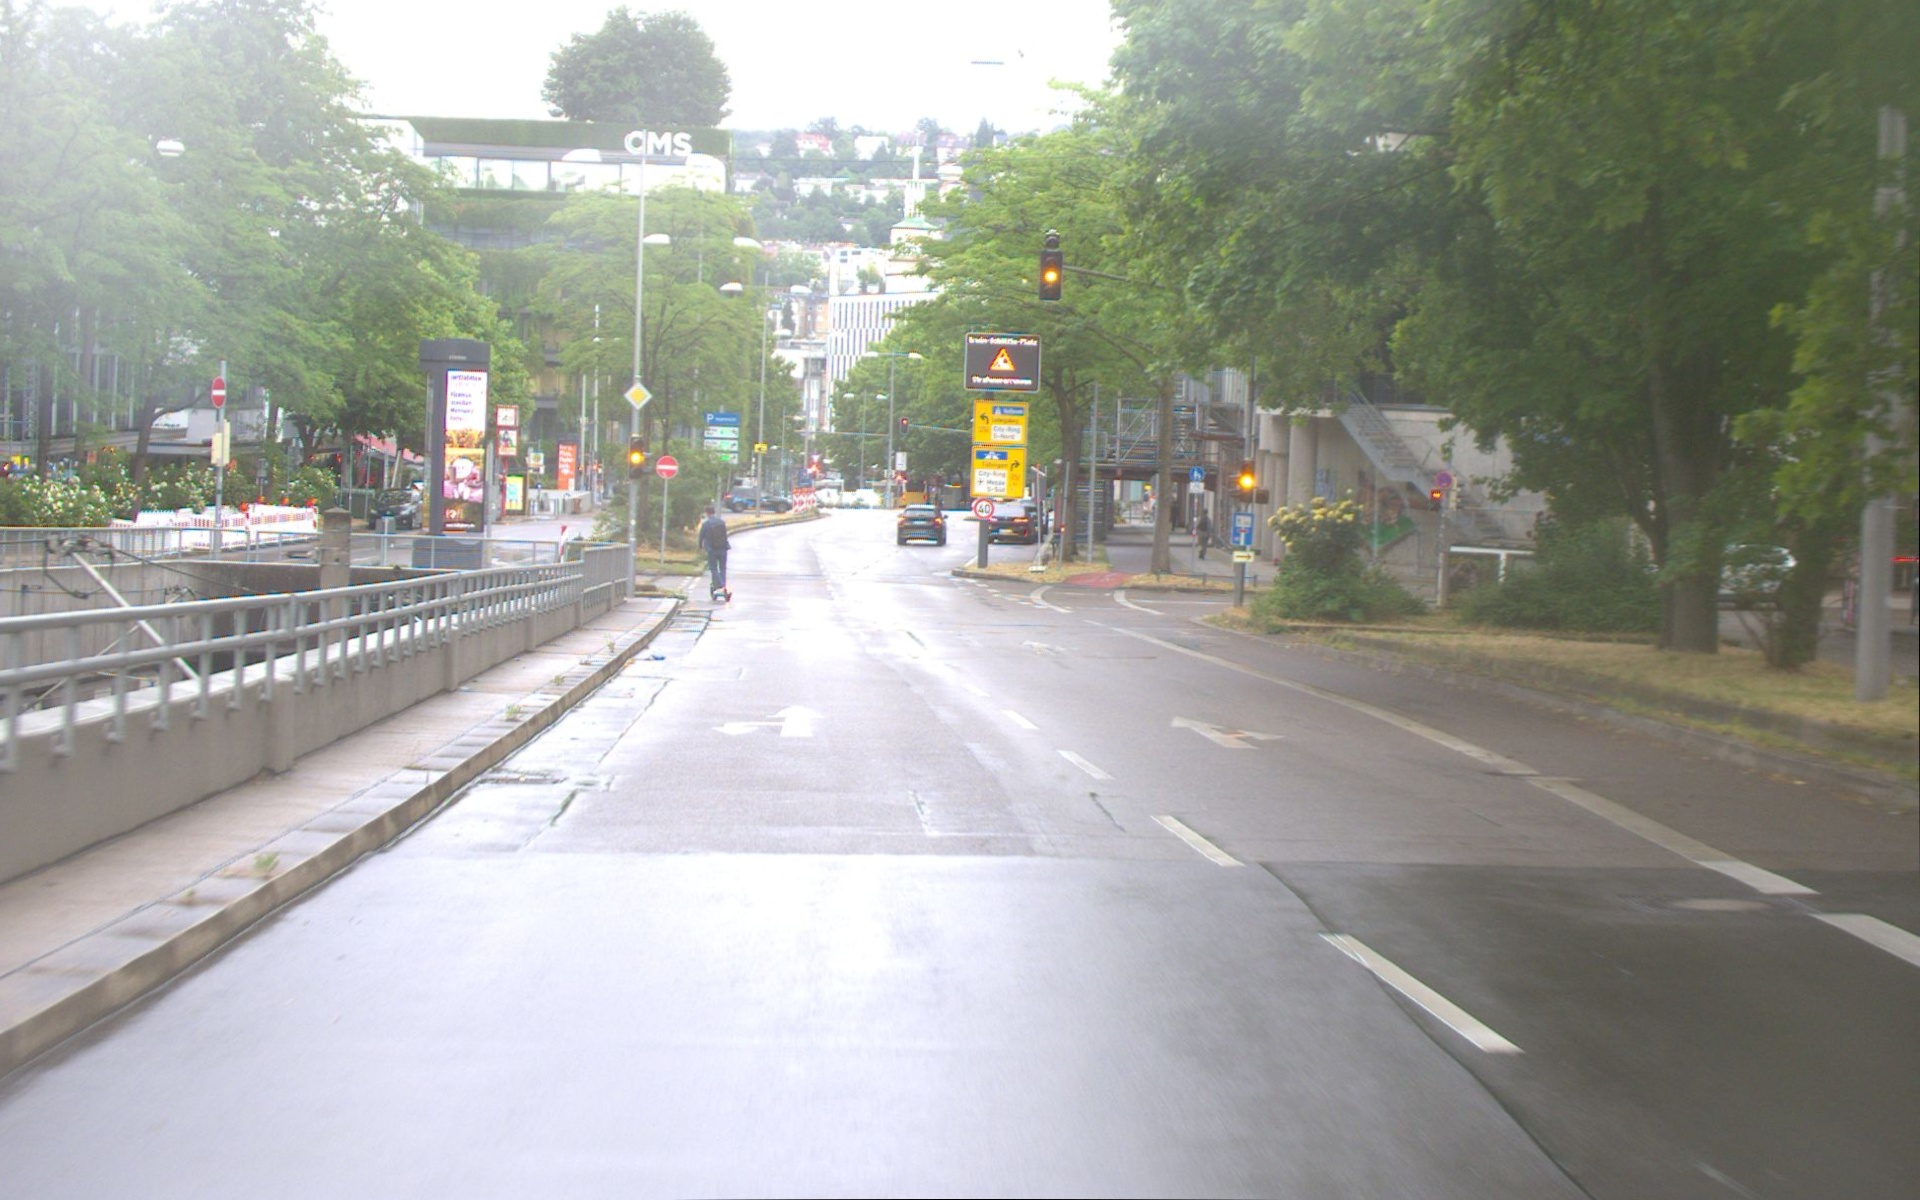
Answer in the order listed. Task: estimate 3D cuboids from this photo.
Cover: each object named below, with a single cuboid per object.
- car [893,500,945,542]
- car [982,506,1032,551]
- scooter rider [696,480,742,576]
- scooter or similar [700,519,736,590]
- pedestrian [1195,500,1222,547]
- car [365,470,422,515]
[{"bbox_3d":[-1.590,-3.029,131.371,1.746,1.514,4.107,2,1,-3],"label":"car"},{"bbox_3d":[1.876,-2.877,137.432,1.901,1.678,3.911,3,1,1],"label":"car"},{"bbox_3d":[-5.016,-1.498,71.457,0.808,1.941,0.822,2,1,-9],"label":"scooter rider"},{"bbox_3d":[-5.033,-0.959,71.477,0.546,1.413,1.956,2,1,-9],"label":"scooter or similar"},{"bbox_3d":[8.315,-2.563,114.963,0.786,1.552,0.533,3,1,-1],"label":"pedestrian"},{"bbox_3d":[-22.418,-4.260,136.084,1.780,1.550,3.894,3,3,-4],"label":"car"}]
